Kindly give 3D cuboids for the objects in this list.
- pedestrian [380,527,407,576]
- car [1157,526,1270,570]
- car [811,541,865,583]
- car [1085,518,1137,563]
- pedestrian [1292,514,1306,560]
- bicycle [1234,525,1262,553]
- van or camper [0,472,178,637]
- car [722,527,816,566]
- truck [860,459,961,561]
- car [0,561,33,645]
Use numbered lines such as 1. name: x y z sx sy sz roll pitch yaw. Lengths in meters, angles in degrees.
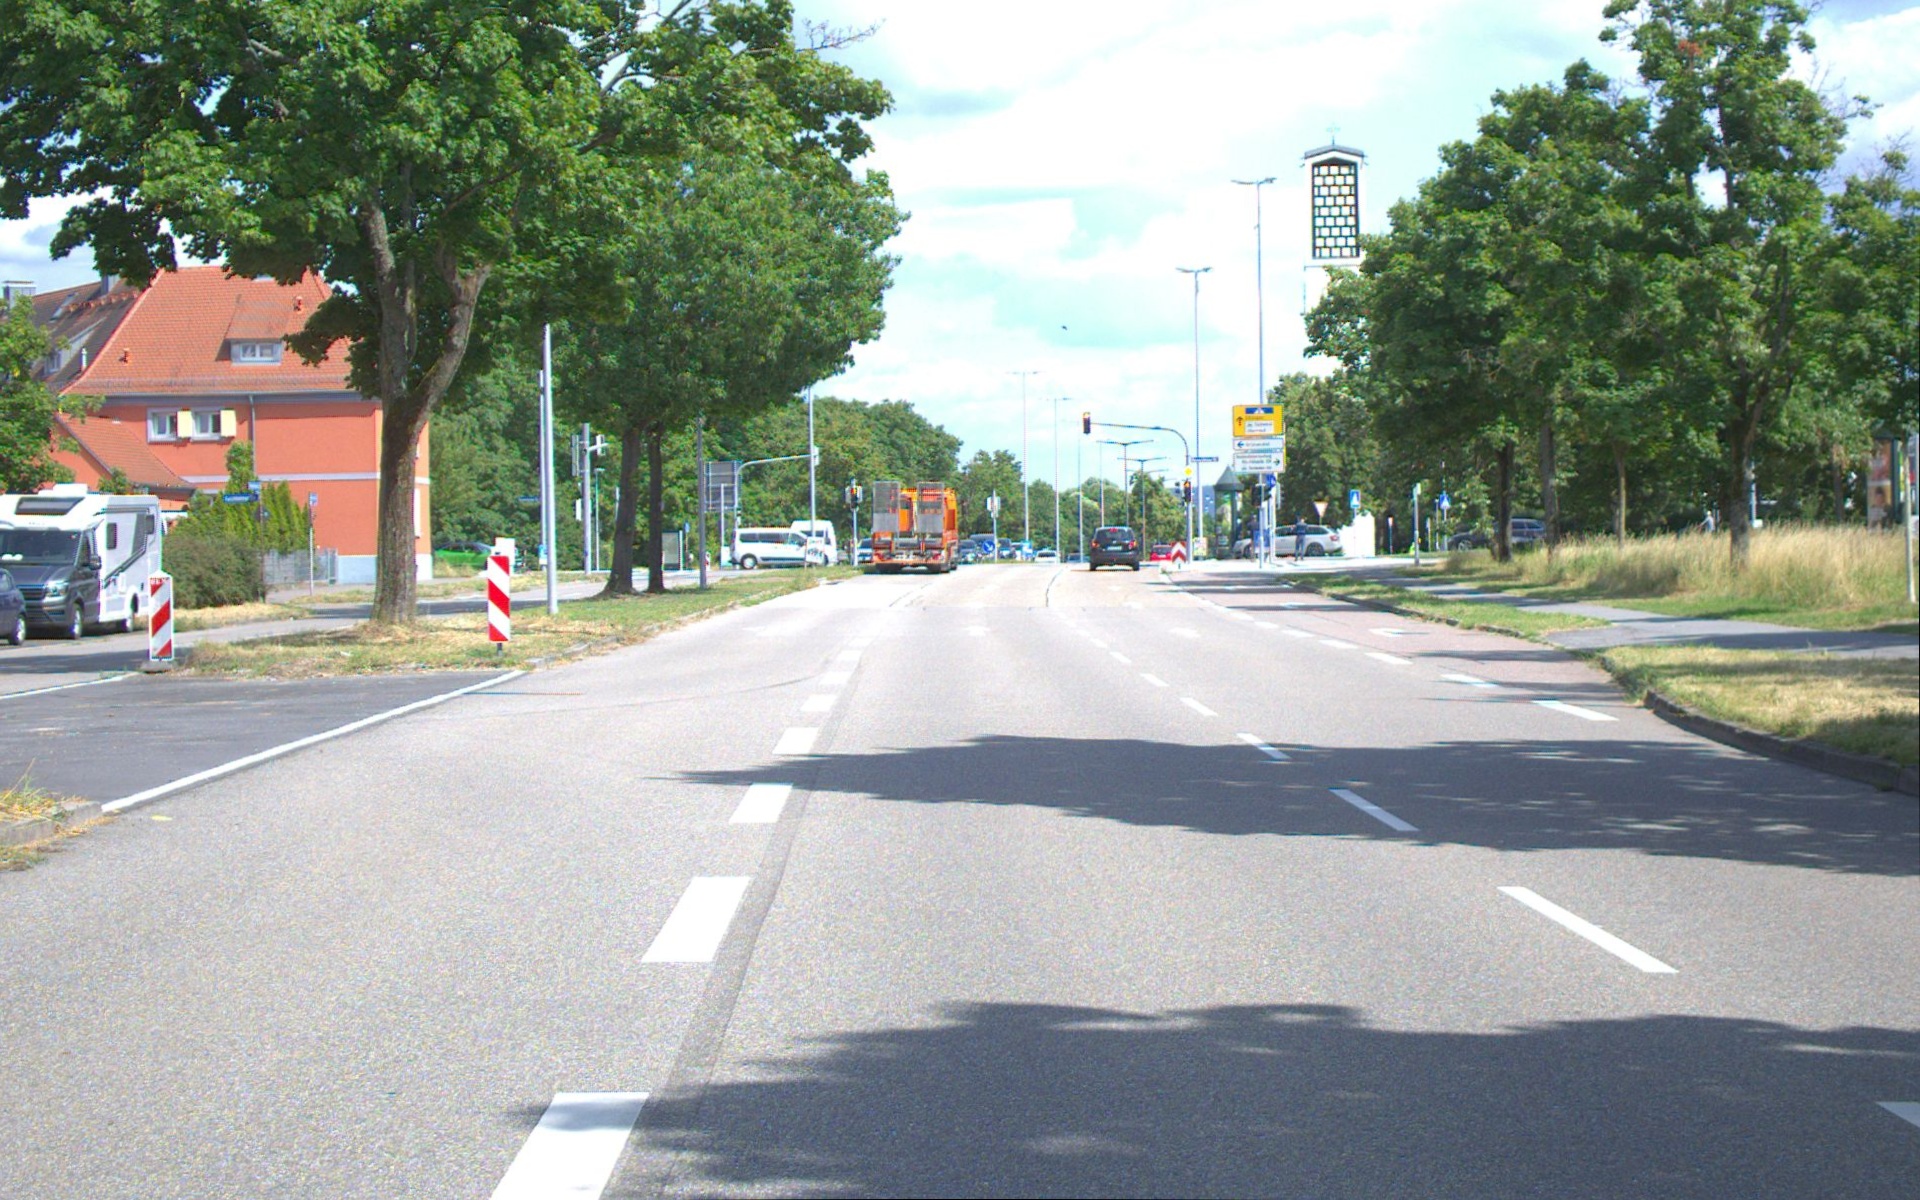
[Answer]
1. pedestrian: -18.501 -1.588 112.375 0.696 1.578 0.851 1 0 2
2. car: 8.754 -1.798 118.829 3.571 1.437 1.476 1 0 -16
3. car: -4.787 -1.486 135.650 1.732 1.503 4.652 -4 0 2
4. car: 5.422 -2.139 123.594 1.799 1.547 4.000 1 0 2
5. pedestrian: 13.106 -2.419 132.897 0.465 1.772 0.482 1 0 13
6. bicycle: 11.368 -2.400 135.634 0.648 1.104 1.926 1 0 18
7. van or camper: -17.694 -0.973 68.683 2.259 3.101 7.320 1 2 2
8. car: -8.330 -2.331 150.063 3.987 1.646 1.732 1 0 0
9. truck: -1.691 -3.153 123.060 3.071 3.402 11.068 1 1 2
10. car: -17.922 0.045 61.199 1.636 1.480 3.992 1 1 2
